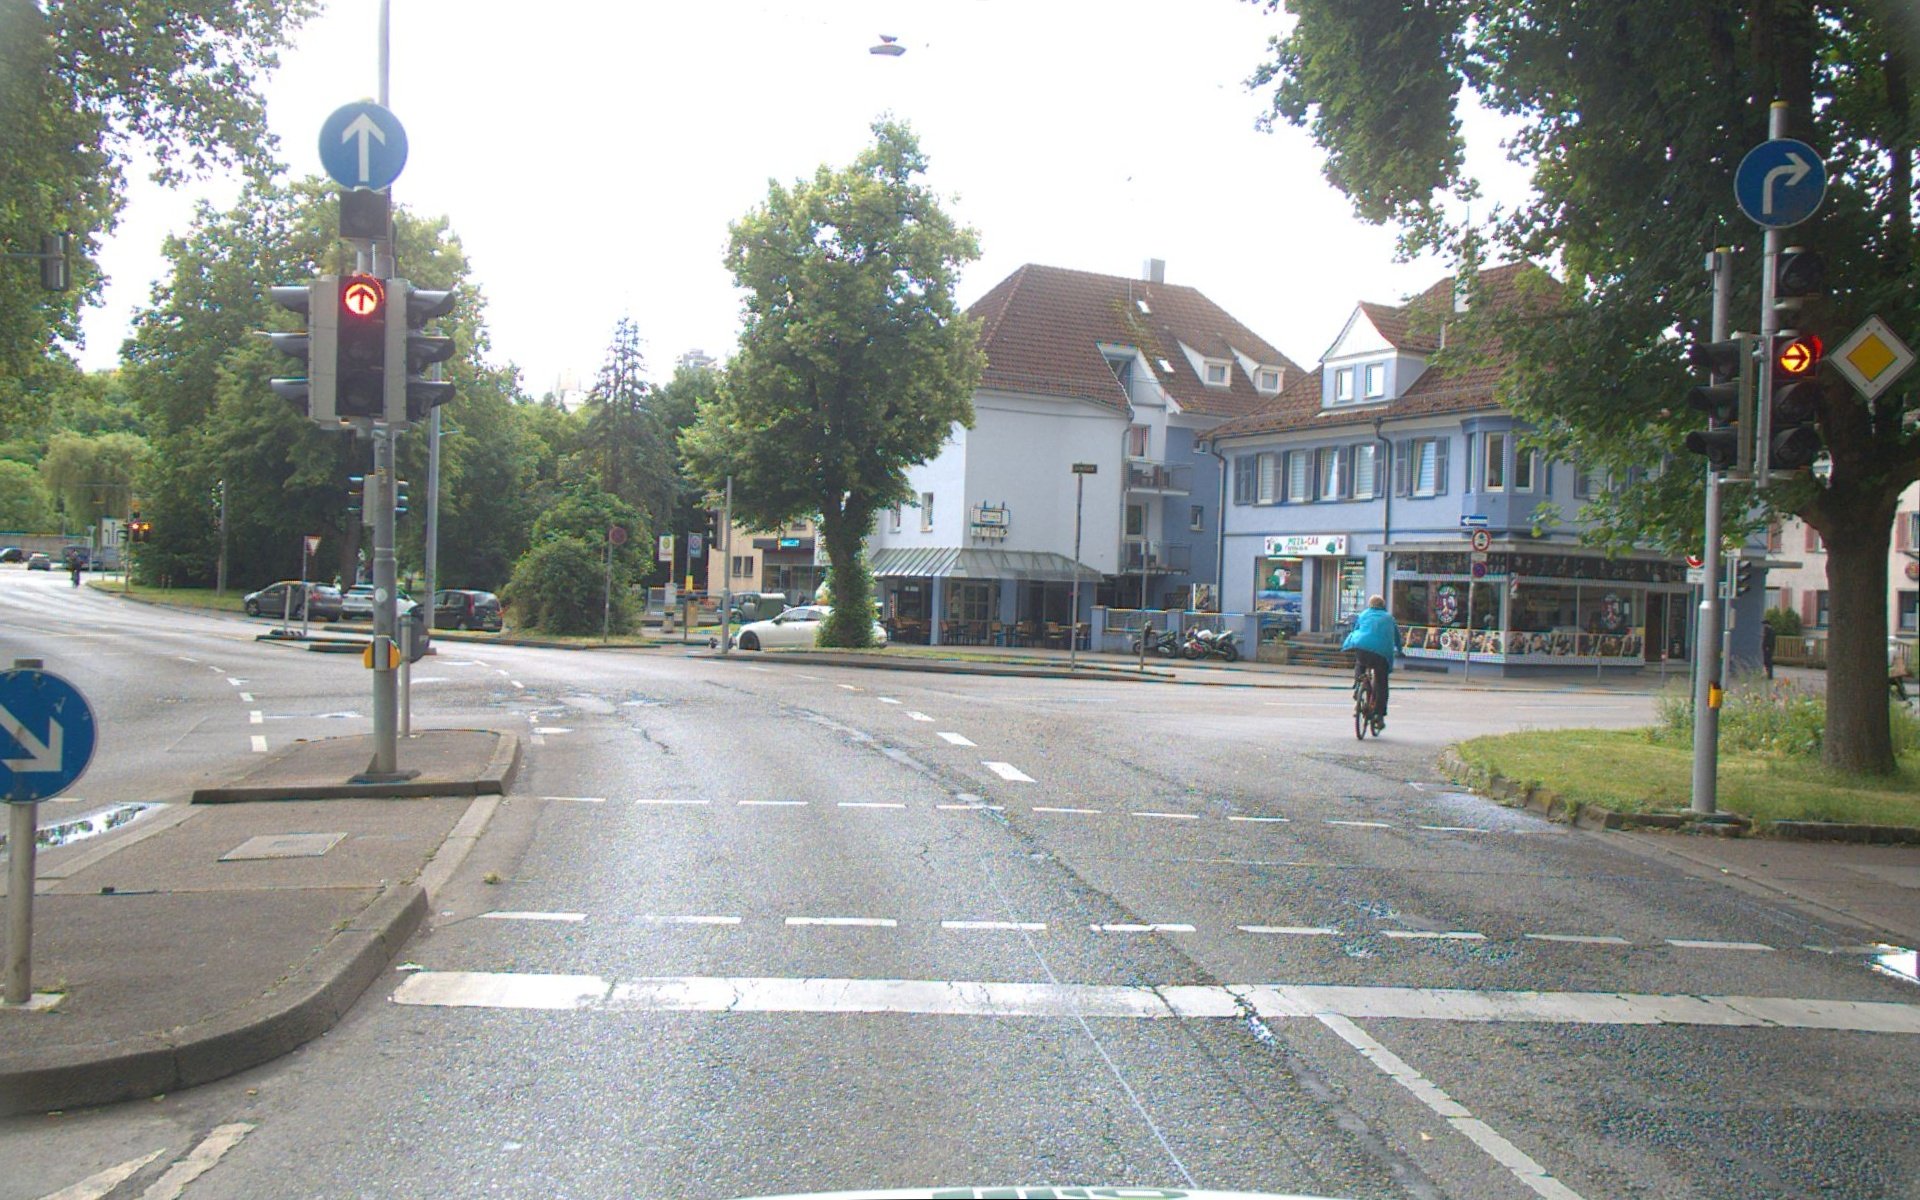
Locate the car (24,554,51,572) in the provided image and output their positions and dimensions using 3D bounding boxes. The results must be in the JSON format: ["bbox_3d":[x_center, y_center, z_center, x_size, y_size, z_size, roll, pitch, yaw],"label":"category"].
[{"bbox_3d":[-88.004,-3.518,157.785,1.975,1.624,3.955,1,-1,-33],"label":"car"}]

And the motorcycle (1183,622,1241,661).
[{"bbox_3d":[7.565,1.235,49.726,1.595,1.107,0.626,1,0,31],"label":"motorcycle"}]

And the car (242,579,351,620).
[{"bbox_3d":[-25.780,-0.037,64.286,3.694,1.491,1.622,1,0,17],"label":"car"}]

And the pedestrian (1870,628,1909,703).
[{"bbox_3d":[20.378,1.424,36.260,0.717,1.587,0.767,1,-1,30],"label":"pedestrian"}]

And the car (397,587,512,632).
[{"bbox_3d":[-16.570,0.294,54.239,3.252,1.376,1.779,1,0,26],"label":"car"}]

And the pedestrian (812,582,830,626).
[{"bbox_3d":[-5.066,0.133,60.291,0.531,1.587,0.468,1,-1,12],"label":"pedestrian"}]

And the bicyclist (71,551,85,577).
[{"bbox_3d":[-45.519,-1.857,85.349,0.534,1.365,0.706,1,0,-32],"label":"bicyclist"}]

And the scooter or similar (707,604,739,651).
[{"bbox_3d":[-6.235,0.716,43.609,0.433,1.195,1.439,1,0,8],"label":"scooter or similar"}]

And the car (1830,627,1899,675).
[{"bbox_3d":[29.059,1.611,53.213,1.849,1.415,3.609,1,0,28],"label":"car"}]

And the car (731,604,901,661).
[{"bbox_3d":[-4.103,0.905,46.809,4.617,1.435,1.896,1,0,34],"label":"car"}]

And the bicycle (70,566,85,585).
[{"bbox_3d":[-45.544,-1.250,85.380,0.551,0.975,2.011,1,0,-31],"label":"bicycle"}]

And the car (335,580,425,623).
[{"bbox_3d":[-23.539,0.066,67.296,1.821,1.668,3.757,1,0,10],"label":"car"}]

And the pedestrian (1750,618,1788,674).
[{"bbox_3d":[23.351,1.331,47.749,0.659,1.587,0.743,1,-1,-16],"label":"pedestrian"}]

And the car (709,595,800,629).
[{"bbox_3d":[-9.491,0.542,76.540,3.881,1.467,1.742,1,0,-21],"label":"car"}]

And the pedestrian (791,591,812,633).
[{"bbox_3d":[-7.830,0.573,81.795,0.824,2.049,1.052,1,0,-16],"label":"pedestrian"}]

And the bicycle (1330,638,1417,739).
[{"bbox_3d":[5.284,1.098,21.054,0.855,1.169,1.953,1,0,20],"label":"bicycle"}]

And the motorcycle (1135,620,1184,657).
[{"bbox_3d":[6.192,1.177,51.459,1.430,1.107,0.522,1,0,34],"label":"motorcycle"}]

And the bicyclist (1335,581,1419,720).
[{"bbox_3d":[5.265,0.622,20.851,0.896,1.680,0.989,1,0,21],"label":"bicyclist"}]
